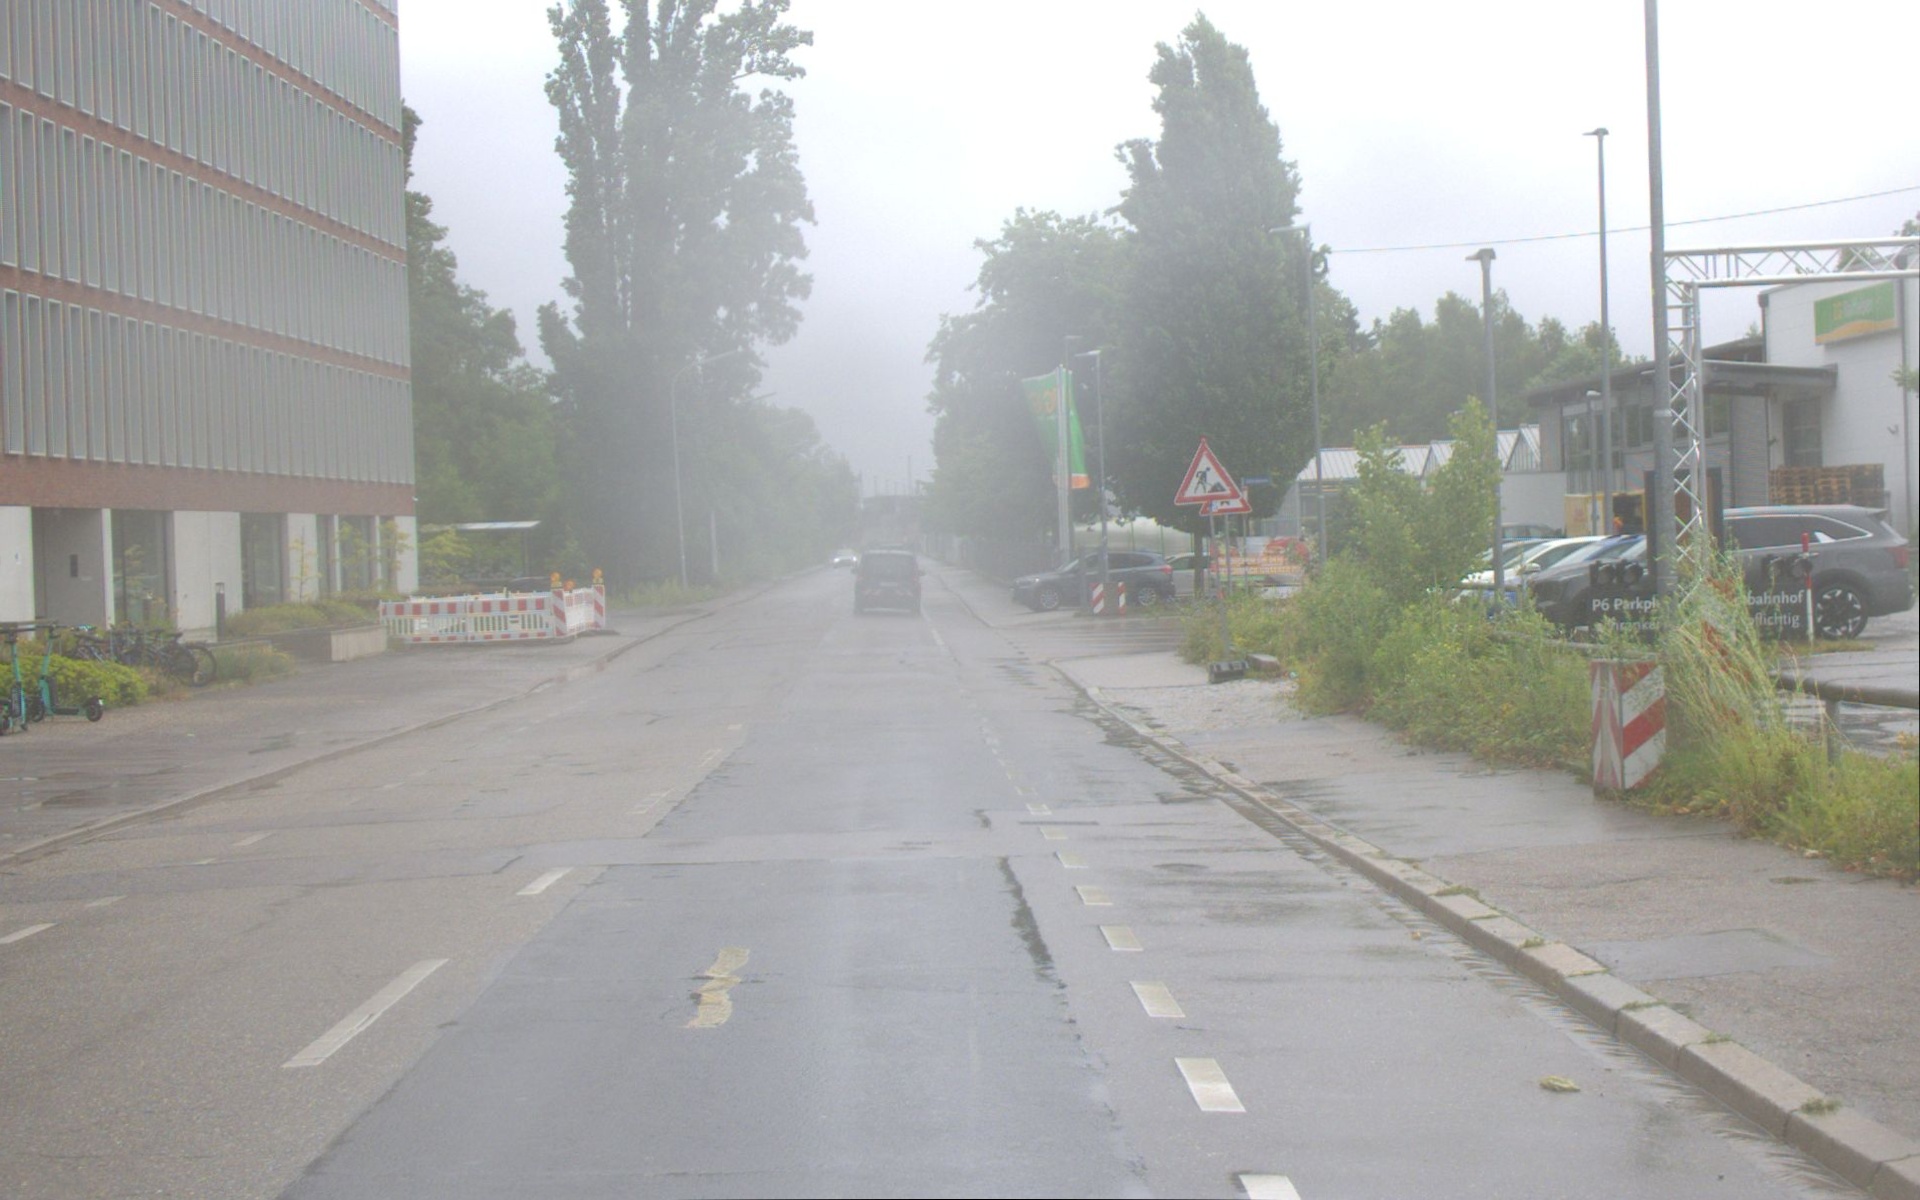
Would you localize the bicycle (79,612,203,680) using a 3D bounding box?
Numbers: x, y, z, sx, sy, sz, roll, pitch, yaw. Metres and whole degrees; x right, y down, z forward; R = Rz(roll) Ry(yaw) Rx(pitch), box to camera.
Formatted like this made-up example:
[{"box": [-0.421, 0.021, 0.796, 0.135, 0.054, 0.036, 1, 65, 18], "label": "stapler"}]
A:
[{"box": [-13.132, 0.737, 55.165, 1.859, 1.073, 0.544, 0, 0, -2], "label": "bicycle"}]

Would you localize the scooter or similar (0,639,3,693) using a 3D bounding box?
[{"box": [-13.486, 0.674, 45.919, 1.226, 1.204, 0.417, -3, 1, 7], "label": "scooter or similar"}]

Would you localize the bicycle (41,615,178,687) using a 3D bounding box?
[{"box": [-13.049, 0.775, 52.780, 1.948, 1.073, 0.620, 0, 0, -2], "label": "bicycle"}]

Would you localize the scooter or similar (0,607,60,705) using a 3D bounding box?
[{"box": [-12.212, 0.729, 44.056, 0.467, 1.204, 1.205, -2, 1, 42], "label": "scooter or similar"}]

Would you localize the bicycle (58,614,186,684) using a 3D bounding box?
[{"box": [-13.082, 0.760, 53.703, 1.859, 1.073, 0.544, 0, 0, -2], "label": "bicycle"}]

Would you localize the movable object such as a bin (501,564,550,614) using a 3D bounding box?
[{"box": [-12.055, -0.310, 95.455, 1.295, 1.304, 1.449, -2, 1, -7], "label": "movable object such as a bin"}]

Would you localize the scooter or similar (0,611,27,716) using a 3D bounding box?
[{"box": [-11.676, 0.764, 41.436, 0.466, 1.226, 1.321, -3, 1, -29], "label": "scooter or similar"}]

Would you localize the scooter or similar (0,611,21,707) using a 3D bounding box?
[{"box": [-12.296, 0.755, 42.384, 1.316, 1.173, 0.467, -3, 1, -12], "label": "scooter or similar"}]

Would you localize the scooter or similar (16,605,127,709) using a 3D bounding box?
[{"box": [-11.040, 0.710, 42.705, 1.318, 1.226, 0.467, -2, 1, 29], "label": "scooter or similar"}]

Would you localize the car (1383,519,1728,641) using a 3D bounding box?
[{"box": [7.985, -0.263, 46.345, 4.295, 1.512, 1.819, -1, 0, 0], "label": "car"}]

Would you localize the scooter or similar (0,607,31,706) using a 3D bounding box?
[{"box": [-12.371, 0.730, 43.229, 0.467, 1.226, 1.205, -2, 1, 42], "label": "scooter or similar"}]

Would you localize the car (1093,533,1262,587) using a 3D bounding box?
[{"box": [6.293, -1.172, 99.726, 4.702, 1.457, 1.891, -1, 1, -2], "label": "car"}]

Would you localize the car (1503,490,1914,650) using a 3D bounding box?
[{"box": [9.287, -0.359, 42.988, 4.681, 1.729, 2.128, -3, 0, 4], "label": "car"}]

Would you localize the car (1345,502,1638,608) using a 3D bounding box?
[{"box": [8.143, -0.684, 52.937, 4.181, 1.504, 1.890, -1, 0, 0], "label": "car"}]

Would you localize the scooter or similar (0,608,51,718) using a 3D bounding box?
[{"box": [-11.028, 0.734, 40.184, 0.466, 1.226, 1.321, -3, 1, -4], "label": "scooter or similar"}]

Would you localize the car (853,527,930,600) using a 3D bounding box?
[{"box": [-1.918, -1.008, 95.358, 1.993, 1.904, 4.201, -3, 1, -2], "label": "car"}]

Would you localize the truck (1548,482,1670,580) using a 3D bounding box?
[{"box": [18.905, -2.028, 100.468, 2.301, 2.650, 7.416, -3, 1, 2], "label": "truck"}]

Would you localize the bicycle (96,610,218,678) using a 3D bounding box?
[{"box": [-13.079, 0.714, 56.047, 1.859, 1.073, 0.544, 0, 0, -2], "label": "bicycle"}]

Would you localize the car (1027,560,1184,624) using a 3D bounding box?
[{"box": [3.910, -0.215, 92.509, 4.136, 1.563, 1.765, -2, 0, 2], "label": "car"}]

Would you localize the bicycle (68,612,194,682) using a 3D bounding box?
[{"box": [-13.089, 0.744, 54.280, 1.859, 1.073, 0.544, 0, 0, -2], "label": "bicycle"}]
